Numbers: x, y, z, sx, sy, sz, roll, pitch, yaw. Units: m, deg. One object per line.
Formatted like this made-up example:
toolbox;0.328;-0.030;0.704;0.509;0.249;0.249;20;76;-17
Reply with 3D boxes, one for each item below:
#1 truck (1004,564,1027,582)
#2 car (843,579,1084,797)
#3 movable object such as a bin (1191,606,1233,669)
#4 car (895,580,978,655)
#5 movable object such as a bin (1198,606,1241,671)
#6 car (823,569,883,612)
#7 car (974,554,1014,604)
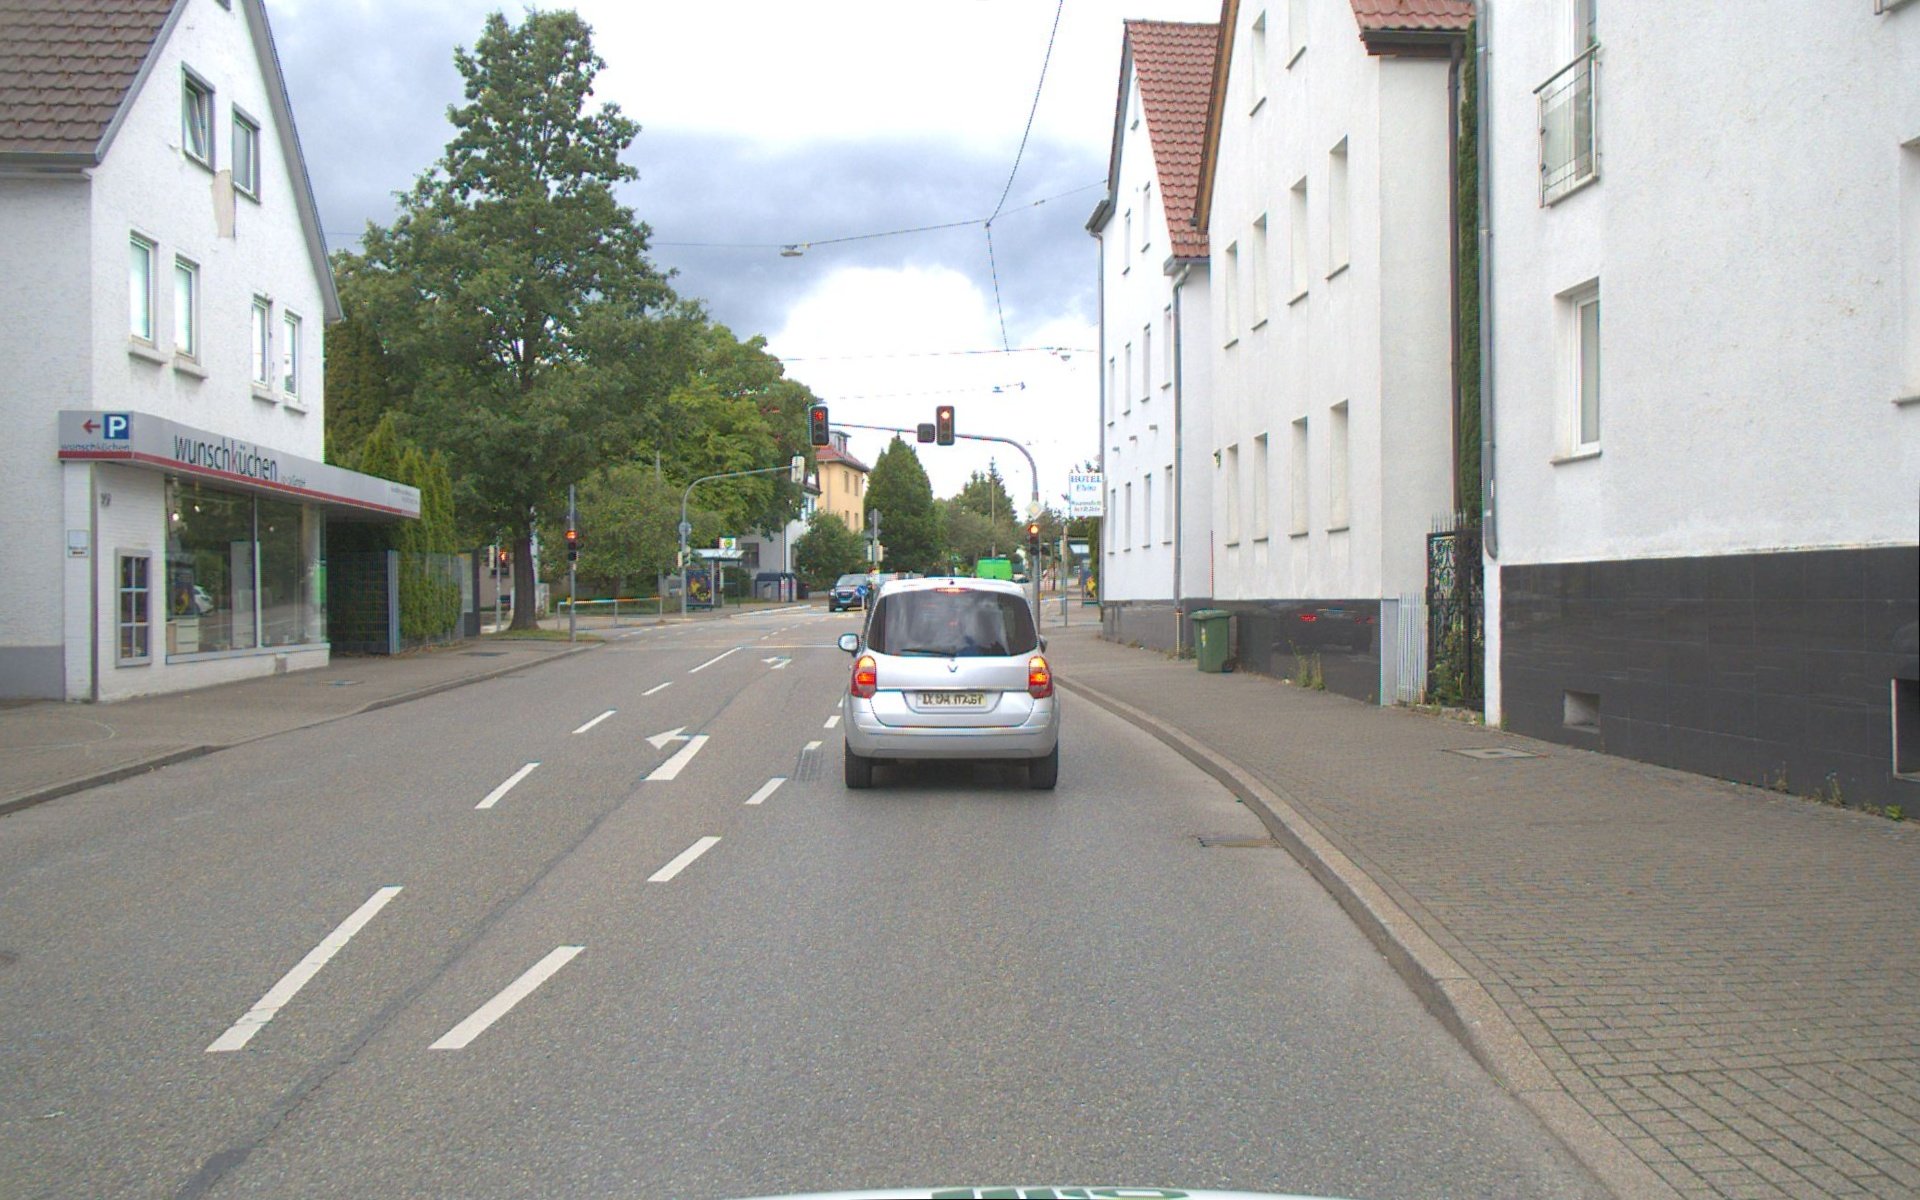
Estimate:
truck;6.382;-3.089;189.820;2.056;2.049;5.752;0;0;7
car;-0.055;0.625;13.868;1.720;1.557;3.998;0;0;-2
movable object such as a bin;3.955;0.587;25.996;0.529;0.957;0.487;-3;0;-2
car;-0.570;0.360;36.606;1.720;1.557;3.795;0;0;-2
movable object such as a bin;3.998;0.590;25.461;0.529;0.957;0.487;-3;0;-2
car;-4.928;-0.460;77.025;1.885;1.804;4.004;-4;0;8
car;1.838;-1.086;88.076;2.016;2.556;5.597;0;0;3
